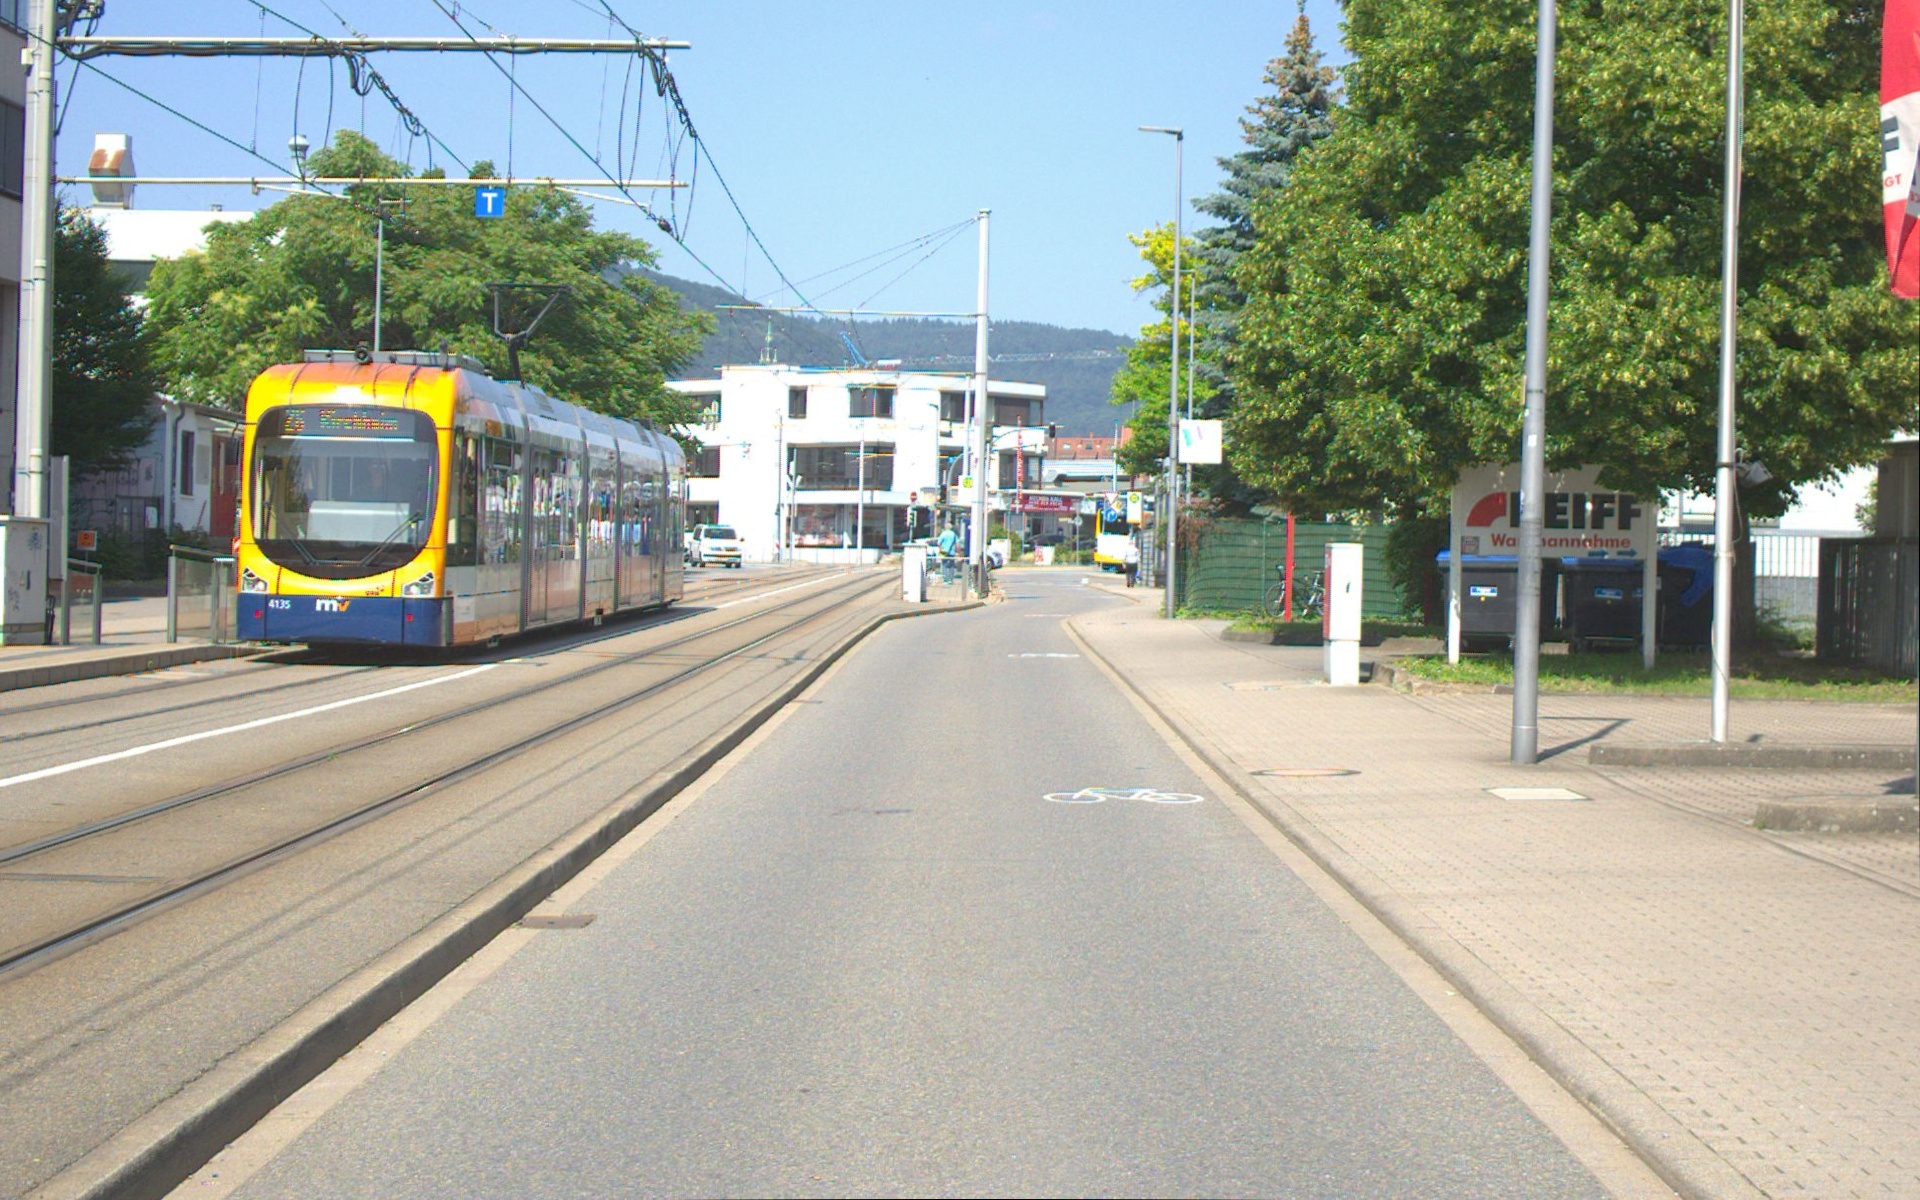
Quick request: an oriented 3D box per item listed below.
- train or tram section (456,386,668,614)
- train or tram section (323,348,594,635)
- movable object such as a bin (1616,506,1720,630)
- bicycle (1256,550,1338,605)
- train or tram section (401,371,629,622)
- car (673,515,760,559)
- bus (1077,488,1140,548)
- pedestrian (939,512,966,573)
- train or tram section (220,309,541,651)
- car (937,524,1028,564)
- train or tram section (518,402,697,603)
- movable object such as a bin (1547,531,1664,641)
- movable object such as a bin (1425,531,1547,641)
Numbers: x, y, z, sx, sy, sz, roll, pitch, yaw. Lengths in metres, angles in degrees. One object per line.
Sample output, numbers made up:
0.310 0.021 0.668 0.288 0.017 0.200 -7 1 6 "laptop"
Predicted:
-6.385 -1.596 56.118 2.580 3.435 7.137 1 1 0 "train or tram section"
-6.382 -1.372 44.559 2.611 3.435 5.844 1 1 0 "train or tram section"
9.140 -0.399 44.437 0.978 1.541 1.321 2 -1 -3 "movable object such as a bin"
6.312 -0.417 64.406 1.471 0.987 0.388 1 -2 0 "bicycle"
-6.395 -1.476 50.019 2.611 3.435 5.011 1 1 0 "train or tram section"
-11.148 -2.886 157.829 1.863 1.930 3.992 4 3 33 "car"
7.402 -4.076 171.968 2.436 2.870 8.793 2 1 -2 "bus"
-0.220 -1.649 98.134 0.743 1.734 0.727 1 1 0 "pedestrian"
-6.404 -1.306 38.775 2.611 3.521 5.743 1 1 0 "train or tram section"
1.064 -2.637 160.883 3.988 1.744 1.775 2 1 10 "car"
-6.364 -1.754 62.909 2.580 3.435 6.363 1 1 0 "train or tram section"
8.667 -0.186 46.161 1.318 1.425 0.883 2 -1 26 "movable object such as a bin"
7.161 -0.188 46.788 1.386 1.425 0.989 2 -1 26 "movable object such as a bin"
